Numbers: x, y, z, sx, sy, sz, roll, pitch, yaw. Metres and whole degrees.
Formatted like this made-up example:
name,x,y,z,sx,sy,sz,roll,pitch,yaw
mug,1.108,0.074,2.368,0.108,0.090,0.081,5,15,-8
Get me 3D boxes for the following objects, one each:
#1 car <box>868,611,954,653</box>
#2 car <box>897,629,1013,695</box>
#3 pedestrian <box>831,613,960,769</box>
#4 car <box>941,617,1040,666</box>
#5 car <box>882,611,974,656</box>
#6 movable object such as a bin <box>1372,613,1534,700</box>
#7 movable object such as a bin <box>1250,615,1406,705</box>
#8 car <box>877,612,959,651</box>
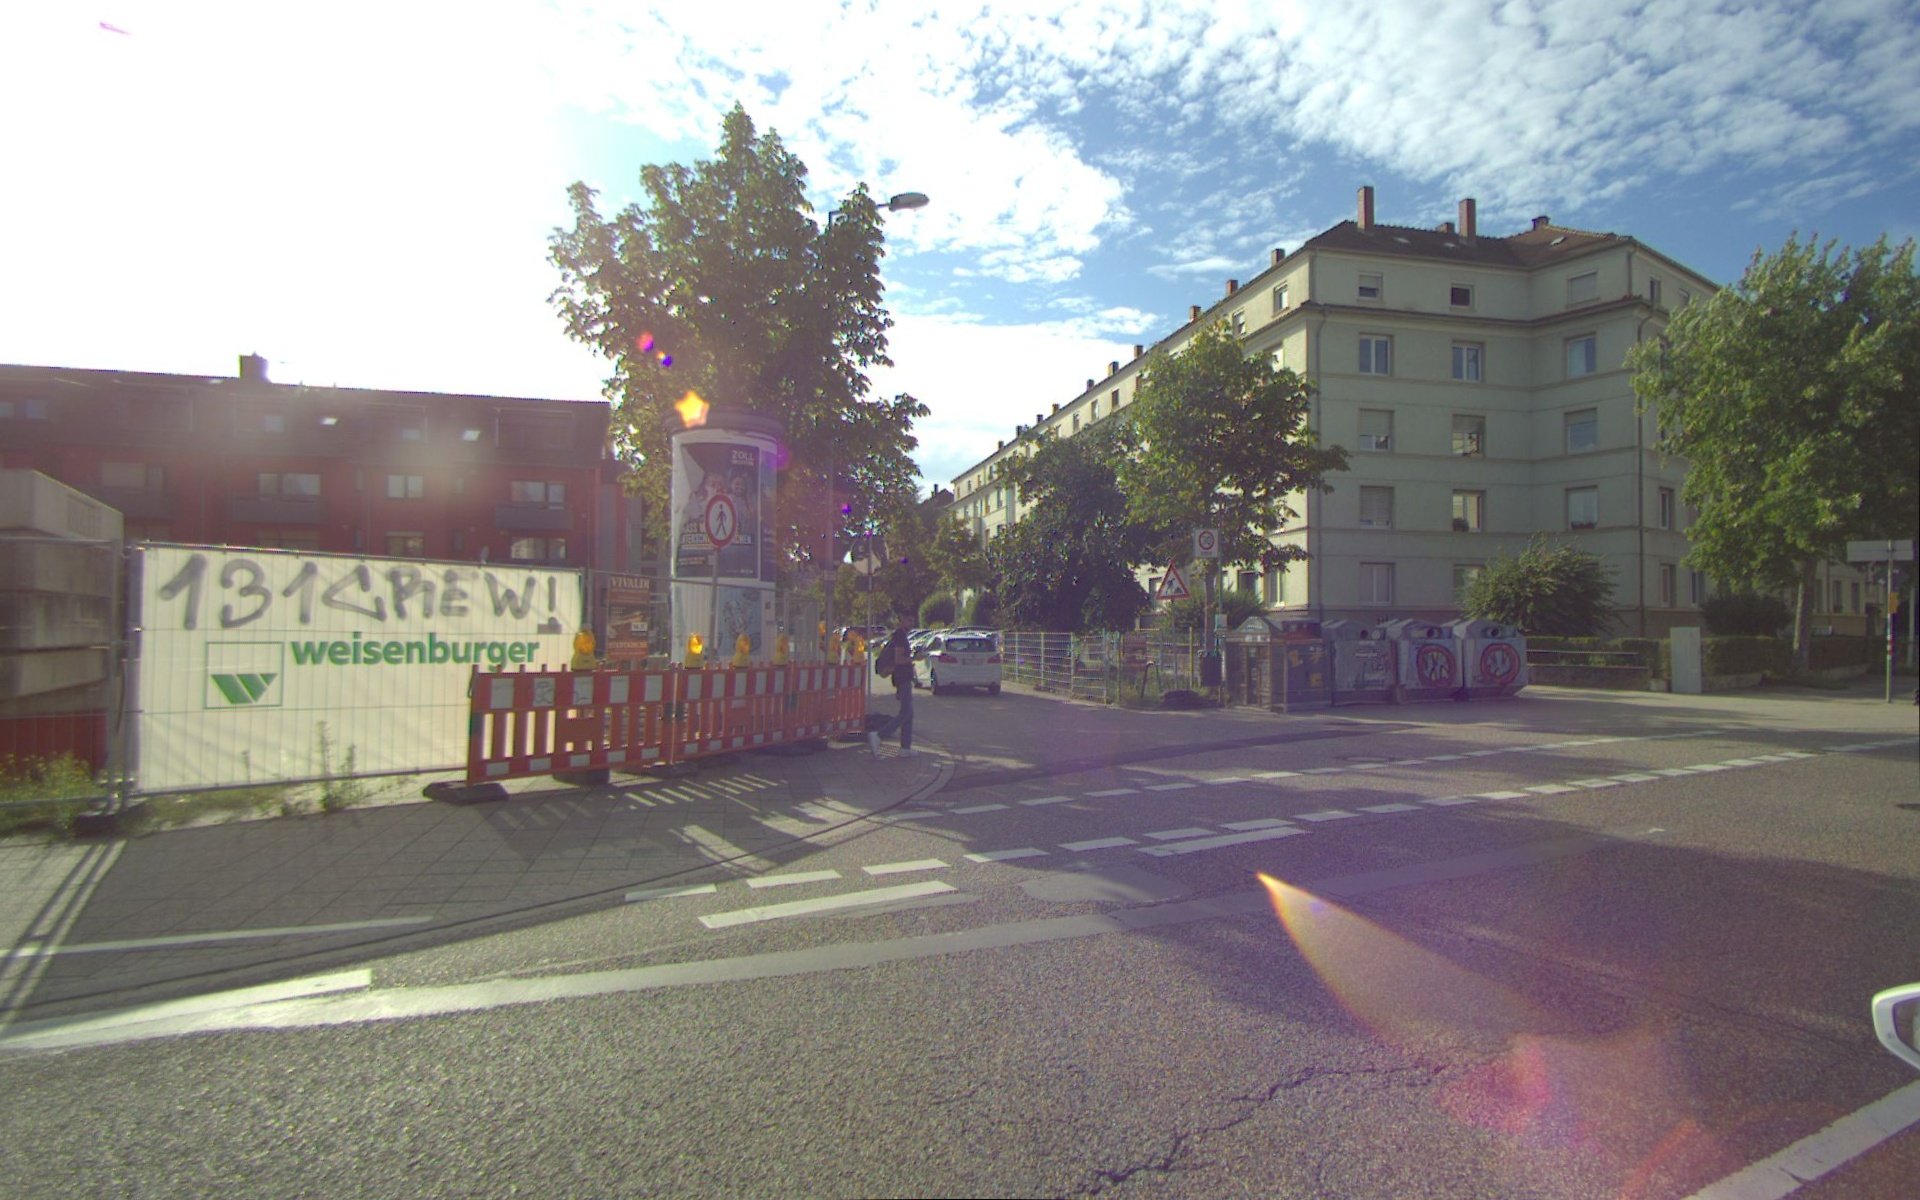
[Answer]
name,x,y,z,sx,sy,sz,roll,pitch,yaw
car,-2.507,1.628,50.914,3.939,2.040,1.991,1,-1,-20
car,-0.230,1.612,27.172,1.968,1.575,4.258,1,-1,-17
pedestrian,-0.770,1.052,12.110,1.170,1.750,0.997,3,-2,-44
car,1.324,1.798,43.940,3.935,2.040,1.993,0,-2,-17
car,-1.520,1.590,47.870,3.939,2.040,1.991,1,-1,-20
movable object such as a bin,10.585,1.156,21.757,1.388,1.730,3.101,1,-1,-18
movable object such as a bin,7.636,1.196,21.124,1.523,1.730,3.102,1,-1,-17
car,-2.250,1.680,53.567,3.939,2.040,1.991,1,-1,-20
